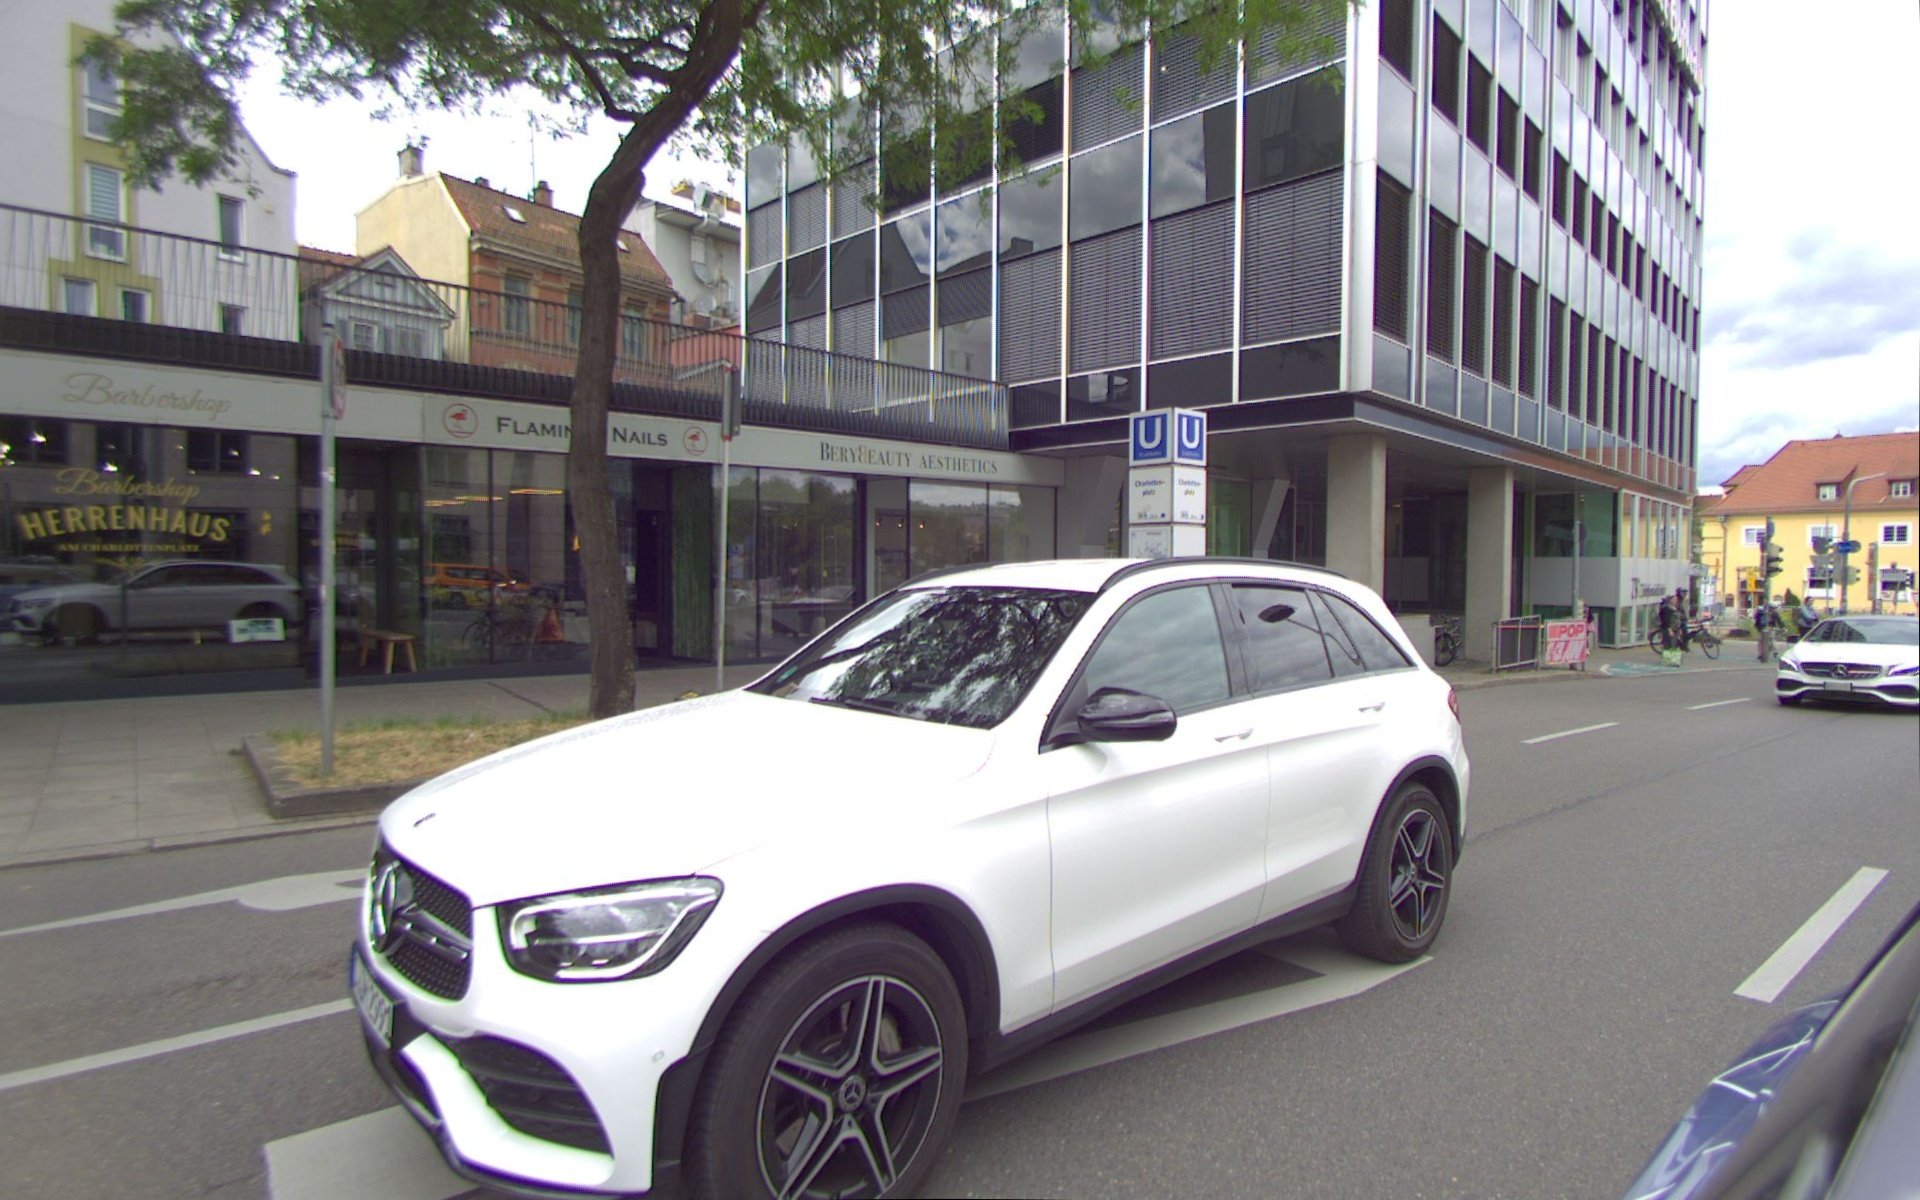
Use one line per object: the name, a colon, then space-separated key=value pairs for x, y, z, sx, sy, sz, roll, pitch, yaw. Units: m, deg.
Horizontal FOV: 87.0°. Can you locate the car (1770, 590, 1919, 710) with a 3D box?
car: x=14.417 y=0.681 z=15.731 sx=4.567 sy=1.589 sz=1.870 roll=0 pitch=1 yaw=-39

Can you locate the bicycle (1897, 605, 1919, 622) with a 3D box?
bicycle: x=64.748 y=0.914 z=68.556 sx=0.609 sy=1.099 sz=1.774 roll=1 pitch=1 yaw=-30

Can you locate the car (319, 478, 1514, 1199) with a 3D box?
car: x=0.241 y=0.576 z=3.796 sx=4.258 sy=1.666 sz=1.806 roll=0 pitch=3 yaw=-41

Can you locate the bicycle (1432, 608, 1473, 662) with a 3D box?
bicycle: x=10.561 y=0.730 z=21.676 sx=0.708 sy=1.061 sz=1.471 roll=2 pitch=1 yaw=29

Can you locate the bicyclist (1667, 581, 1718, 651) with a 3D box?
bicyclist: x=20.029 y=0.426 z=27.691 sx=0.661 sy=1.868 sz=0.816 roll=1 pitch=2 yaw=-15

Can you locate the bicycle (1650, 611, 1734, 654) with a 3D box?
bicycle: x=20.019 y=0.883 z=27.720 sx=0.666 sy=1.019 sz=1.772 roll=3 pitch=2 yaw=-15

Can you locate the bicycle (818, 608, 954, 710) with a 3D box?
bicycle: x=-0.872 y=0.678 z=12.263 sx=1.658 sy=1.146 sz=0.490 roll=0 pitch=1 yaw=-40

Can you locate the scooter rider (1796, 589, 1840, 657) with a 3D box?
scooter rider: x=23.611 y=0.616 z=27.859 sx=0.583 sy=1.831 sz=0.642 roll=2 pitch=2 yaw=8

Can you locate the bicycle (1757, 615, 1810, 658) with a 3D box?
bicycle: x=22.424 y=0.972 z=27.586 sx=0.574 sy=1.039 sz=1.659 roll=2 pitch=2 yaw=21

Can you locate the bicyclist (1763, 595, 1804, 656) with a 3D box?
bicyclist: x=22.430 y=0.680 z=27.574 sx=0.559 sy=1.568 sz=0.841 roll=2 pitch=2 yaw=21

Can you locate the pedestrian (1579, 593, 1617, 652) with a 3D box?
pedestrian: x=16.474 y=0.559 z=26.144 sx=0.825 sy=1.460 sz=0.604 roll=0 pitch=2 yaw=-45

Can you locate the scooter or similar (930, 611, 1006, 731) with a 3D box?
scooter or similar: x=0.101 y=0.765 z=11.330 sx=0.305 sy=1.267 sz=0.983 roll=2 pitch=1 yaw=36

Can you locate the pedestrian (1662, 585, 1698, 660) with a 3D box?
pedestrian: x=17.430 y=0.530 z=24.501 sx=0.525 sy=1.732 sz=0.741 roll=4 pitch=4 yaw=44

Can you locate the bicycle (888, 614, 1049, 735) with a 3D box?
bicycle: x=0.120 y=0.739 z=10.654 sx=1.811 sy=1.146 sz=0.490 roll=0 pitch=1 yaw=-41

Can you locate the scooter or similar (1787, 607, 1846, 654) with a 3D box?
scooter or similar: x=23.616 y=0.824 z=27.929 sx=0.583 sy=1.190 sz=1.321 roll=2 pitch=2 yaw=8
